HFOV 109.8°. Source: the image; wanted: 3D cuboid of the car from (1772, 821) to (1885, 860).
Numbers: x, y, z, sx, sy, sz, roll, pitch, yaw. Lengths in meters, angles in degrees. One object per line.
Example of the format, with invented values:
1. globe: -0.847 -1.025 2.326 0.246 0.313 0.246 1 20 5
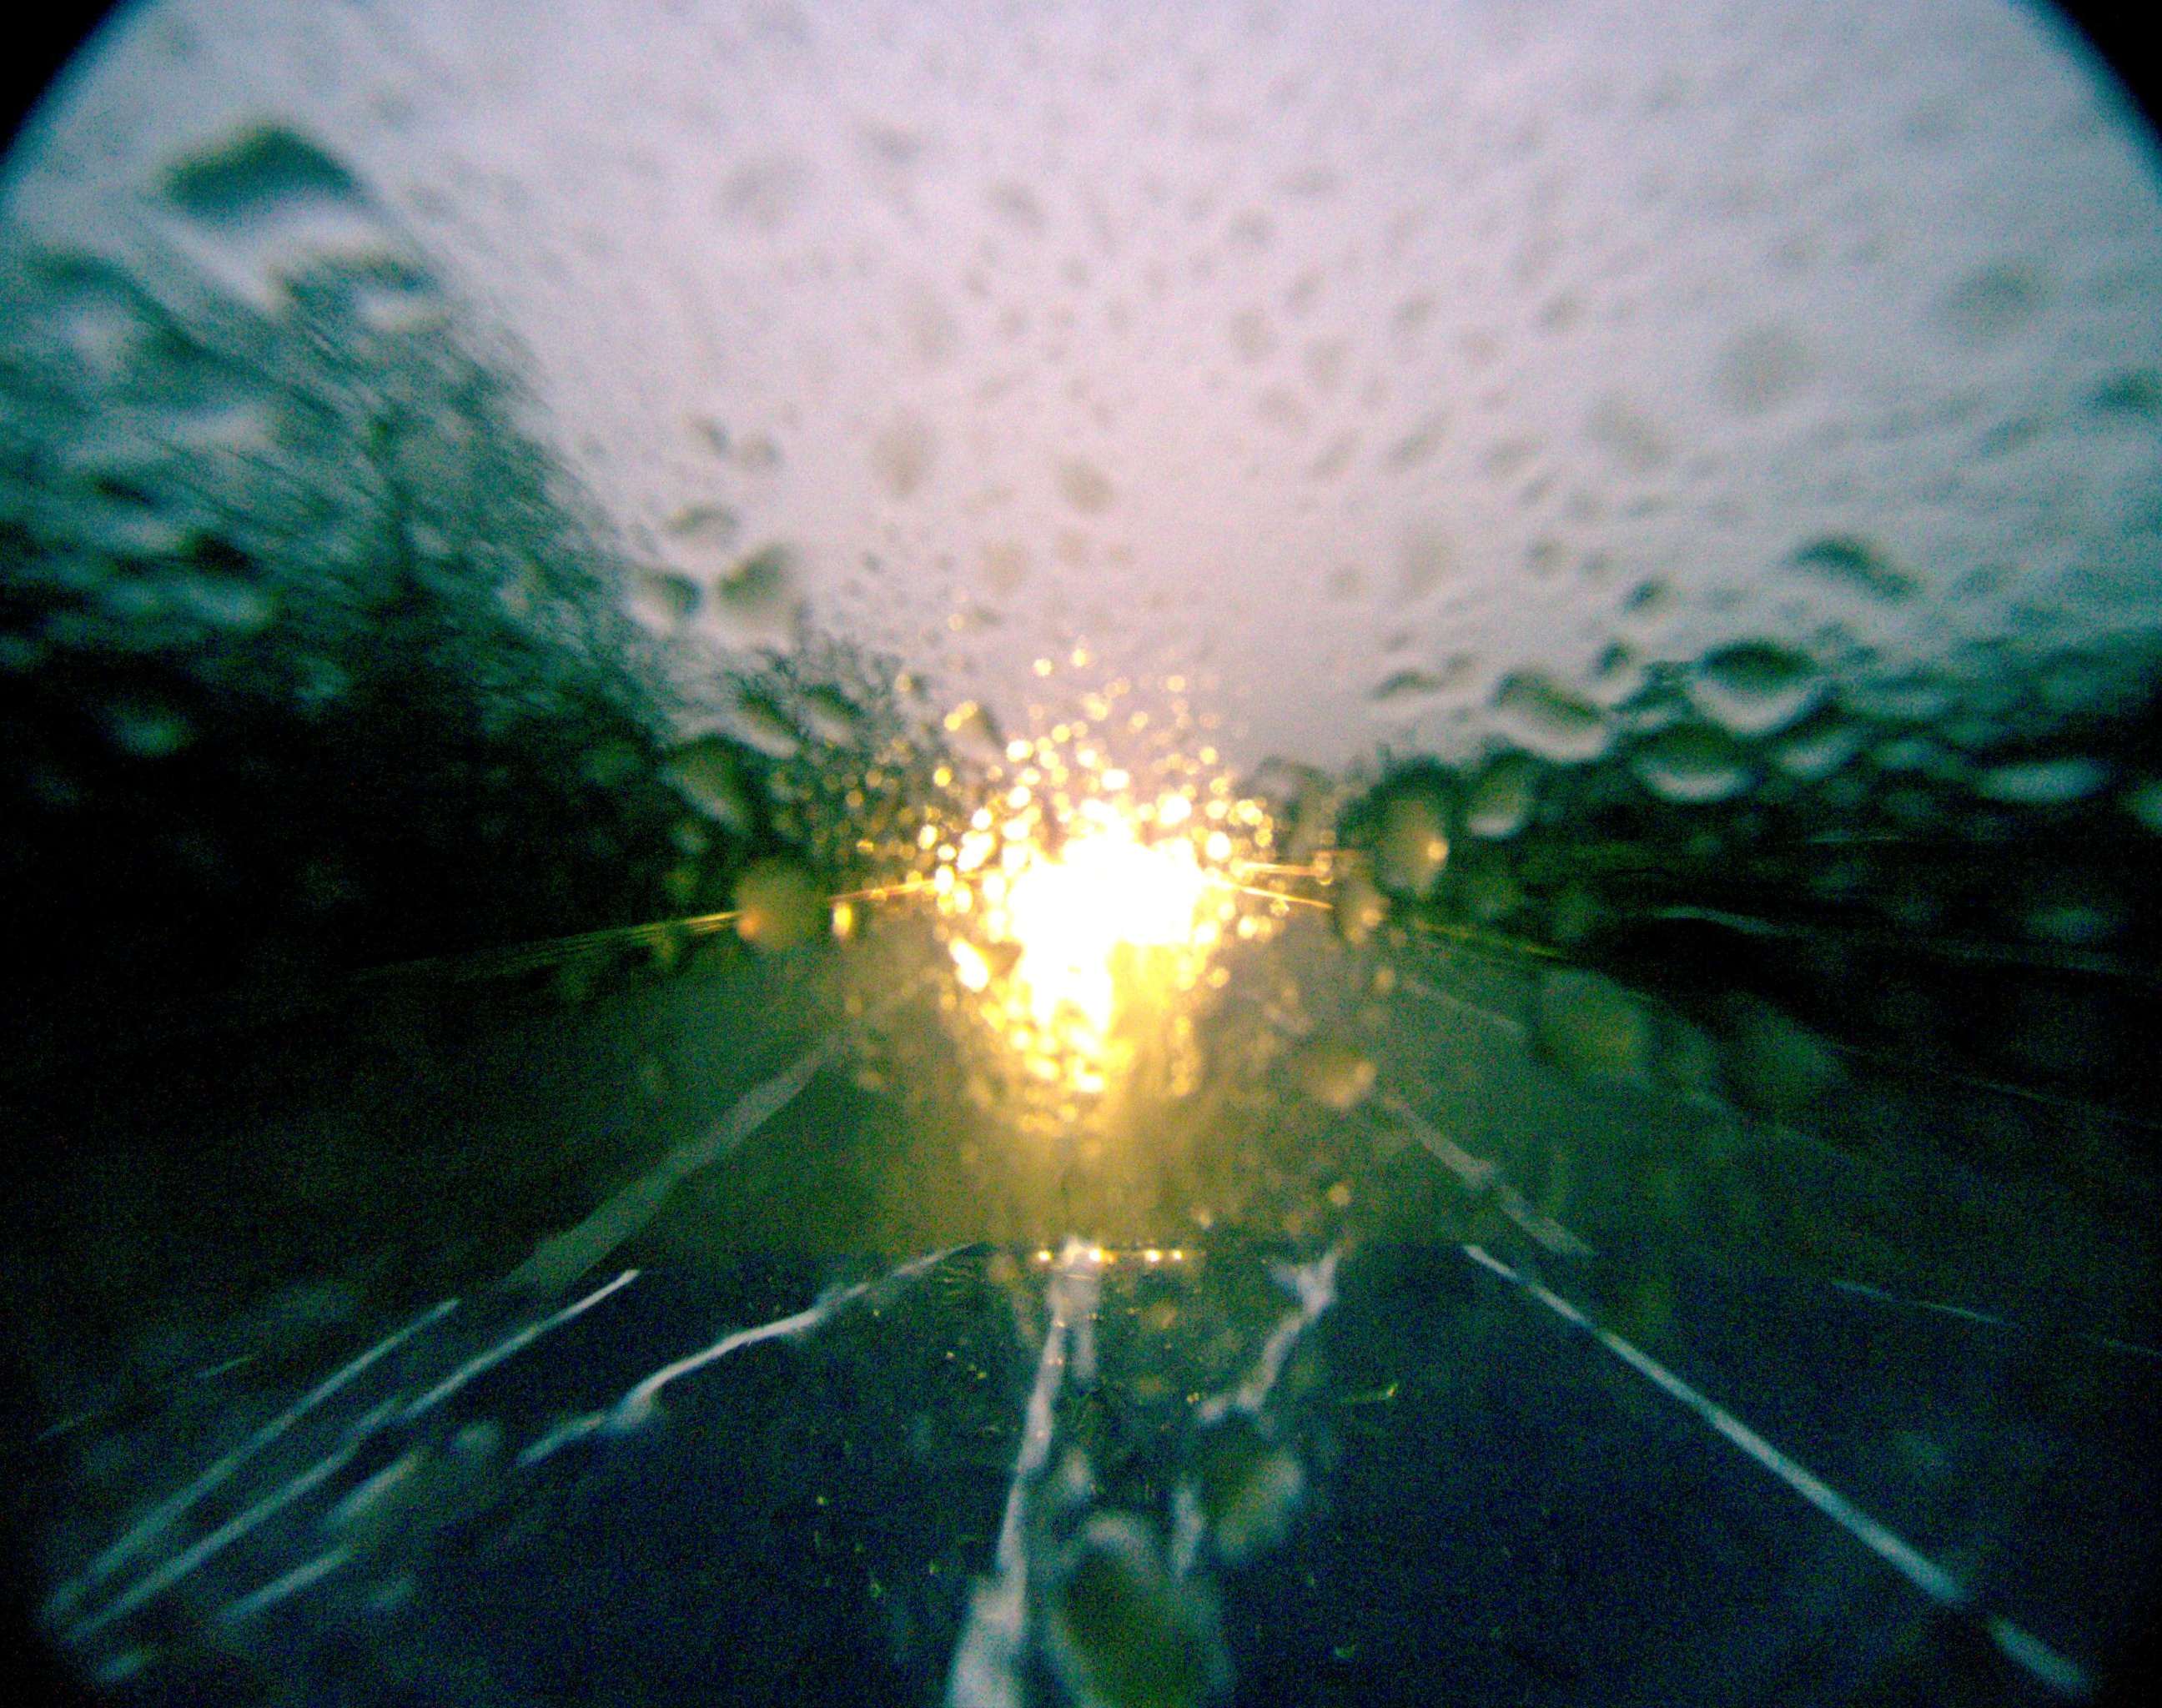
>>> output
1. car: 41.062 -0.727 41.833 1.781 2.002 4.199 -3 1 -37

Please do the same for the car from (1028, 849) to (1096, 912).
1. car: -0.511 0.756 24.141 1.929 1.781 3.940 -2 1 1

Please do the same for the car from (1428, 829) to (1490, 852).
1. car: 30.389 -1.079 61.226 2.003 1.701 3.991 -2 1 -29

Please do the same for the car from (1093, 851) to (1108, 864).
1. car: 2.302 0.395 90.970 1.741 1.441 4.000 -2 1 2

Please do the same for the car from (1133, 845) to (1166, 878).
1. car: 4.286 0.441 47.800 1.766 1.922 4.000 -2 1 1
